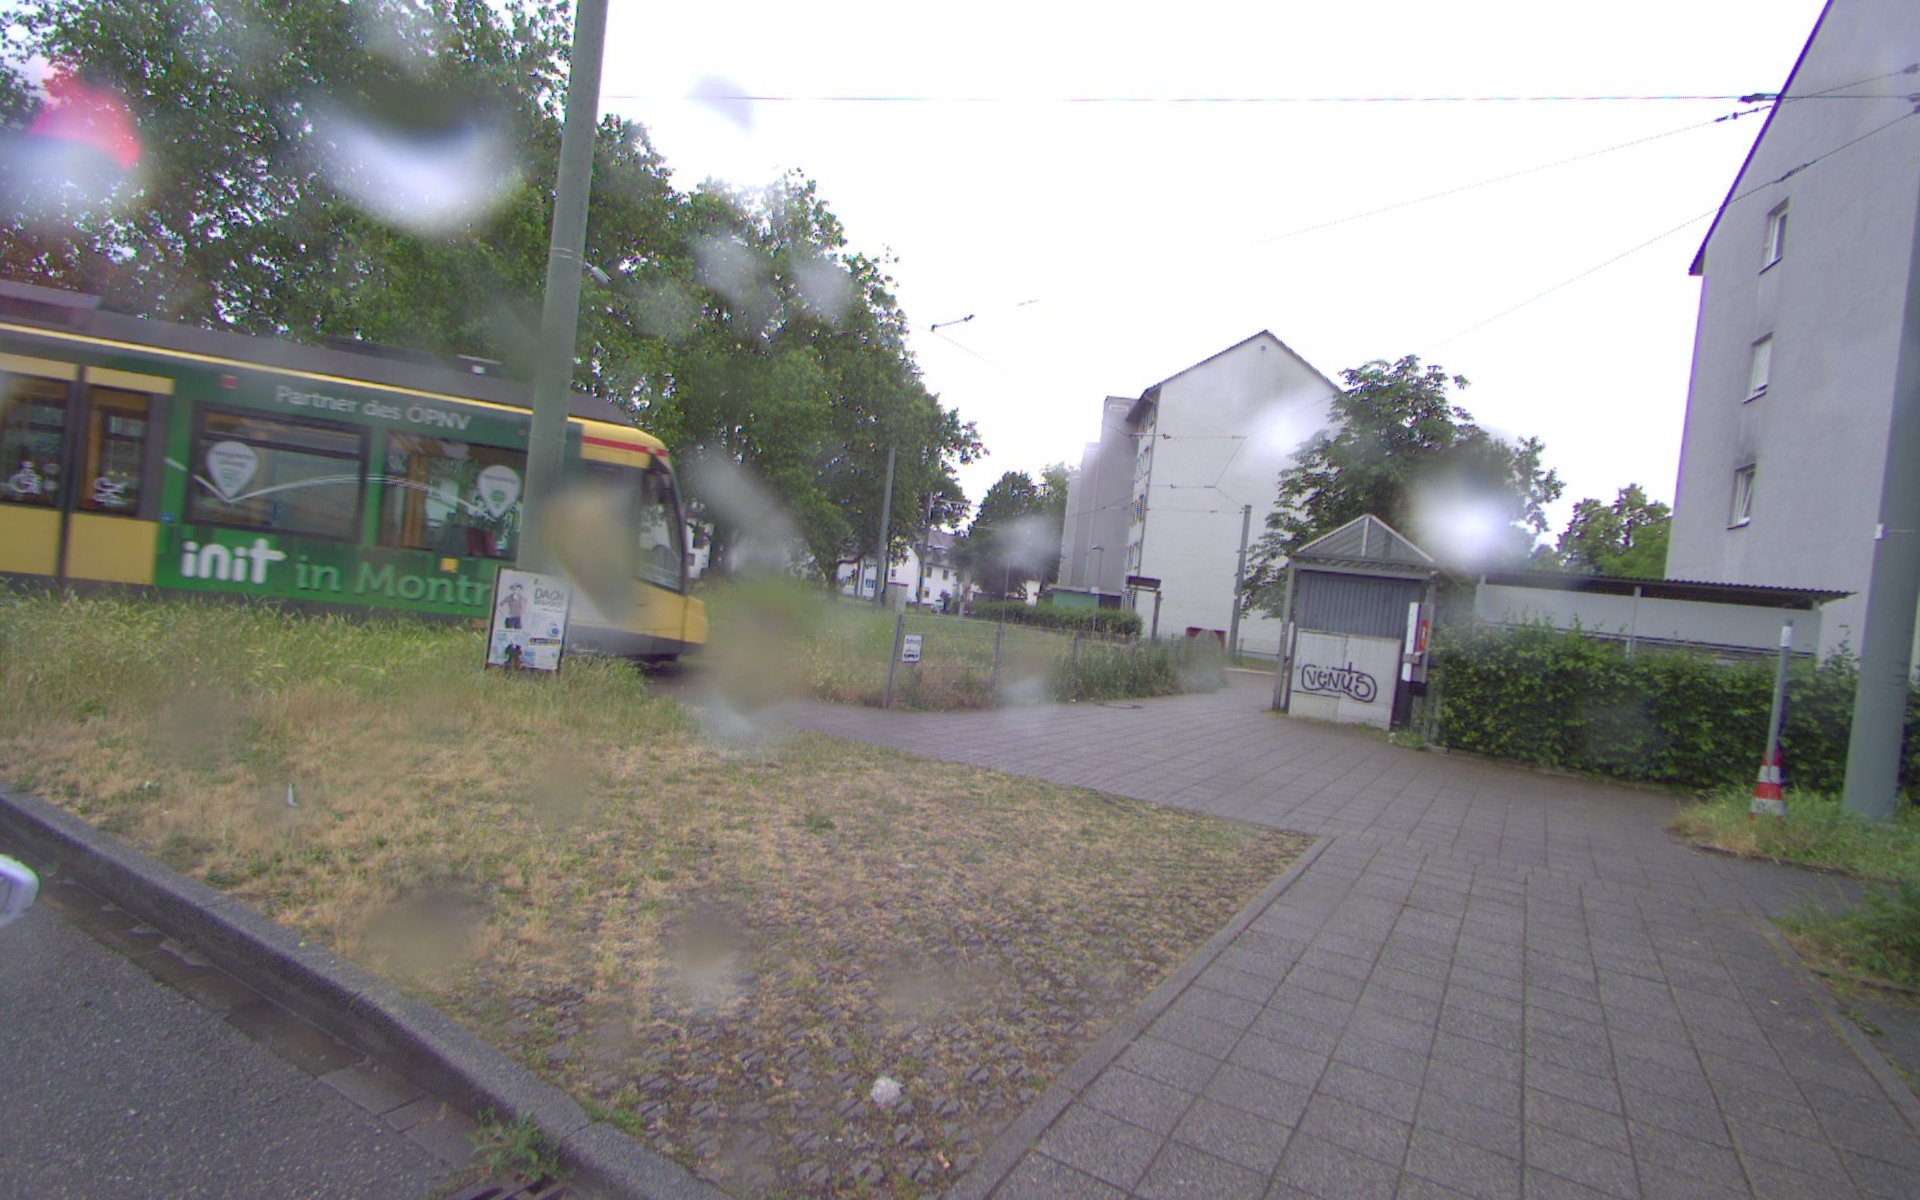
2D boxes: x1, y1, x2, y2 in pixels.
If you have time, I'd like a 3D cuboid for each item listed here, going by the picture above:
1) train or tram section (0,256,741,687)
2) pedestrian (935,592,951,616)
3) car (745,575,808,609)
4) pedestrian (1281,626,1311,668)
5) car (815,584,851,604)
[{"bbox_3d":[-8.867,-1.443,11.328,12.027,3.597,2.757,7,0,-20],"label":"train or tram section"},{"bbox_3d":[-1.393,0.363,81.773,1.022,1.811,0.818,7,-1,-3],"label":"pedestrian"},{"bbox_3d":[-12.746,-0.548,70.073,3.843,1.785,1.812,7,-2,0],"label":"car"},{"bbox_3d":[14.502,2.038,43.411,0.806,1.674,0.889,6,-1,41],"label":"pedestrian"},{"bbox_3d":[-14.092,-0.623,111.609,1.859,1.679,3.692,6,-2,32],"label":"car"}]
